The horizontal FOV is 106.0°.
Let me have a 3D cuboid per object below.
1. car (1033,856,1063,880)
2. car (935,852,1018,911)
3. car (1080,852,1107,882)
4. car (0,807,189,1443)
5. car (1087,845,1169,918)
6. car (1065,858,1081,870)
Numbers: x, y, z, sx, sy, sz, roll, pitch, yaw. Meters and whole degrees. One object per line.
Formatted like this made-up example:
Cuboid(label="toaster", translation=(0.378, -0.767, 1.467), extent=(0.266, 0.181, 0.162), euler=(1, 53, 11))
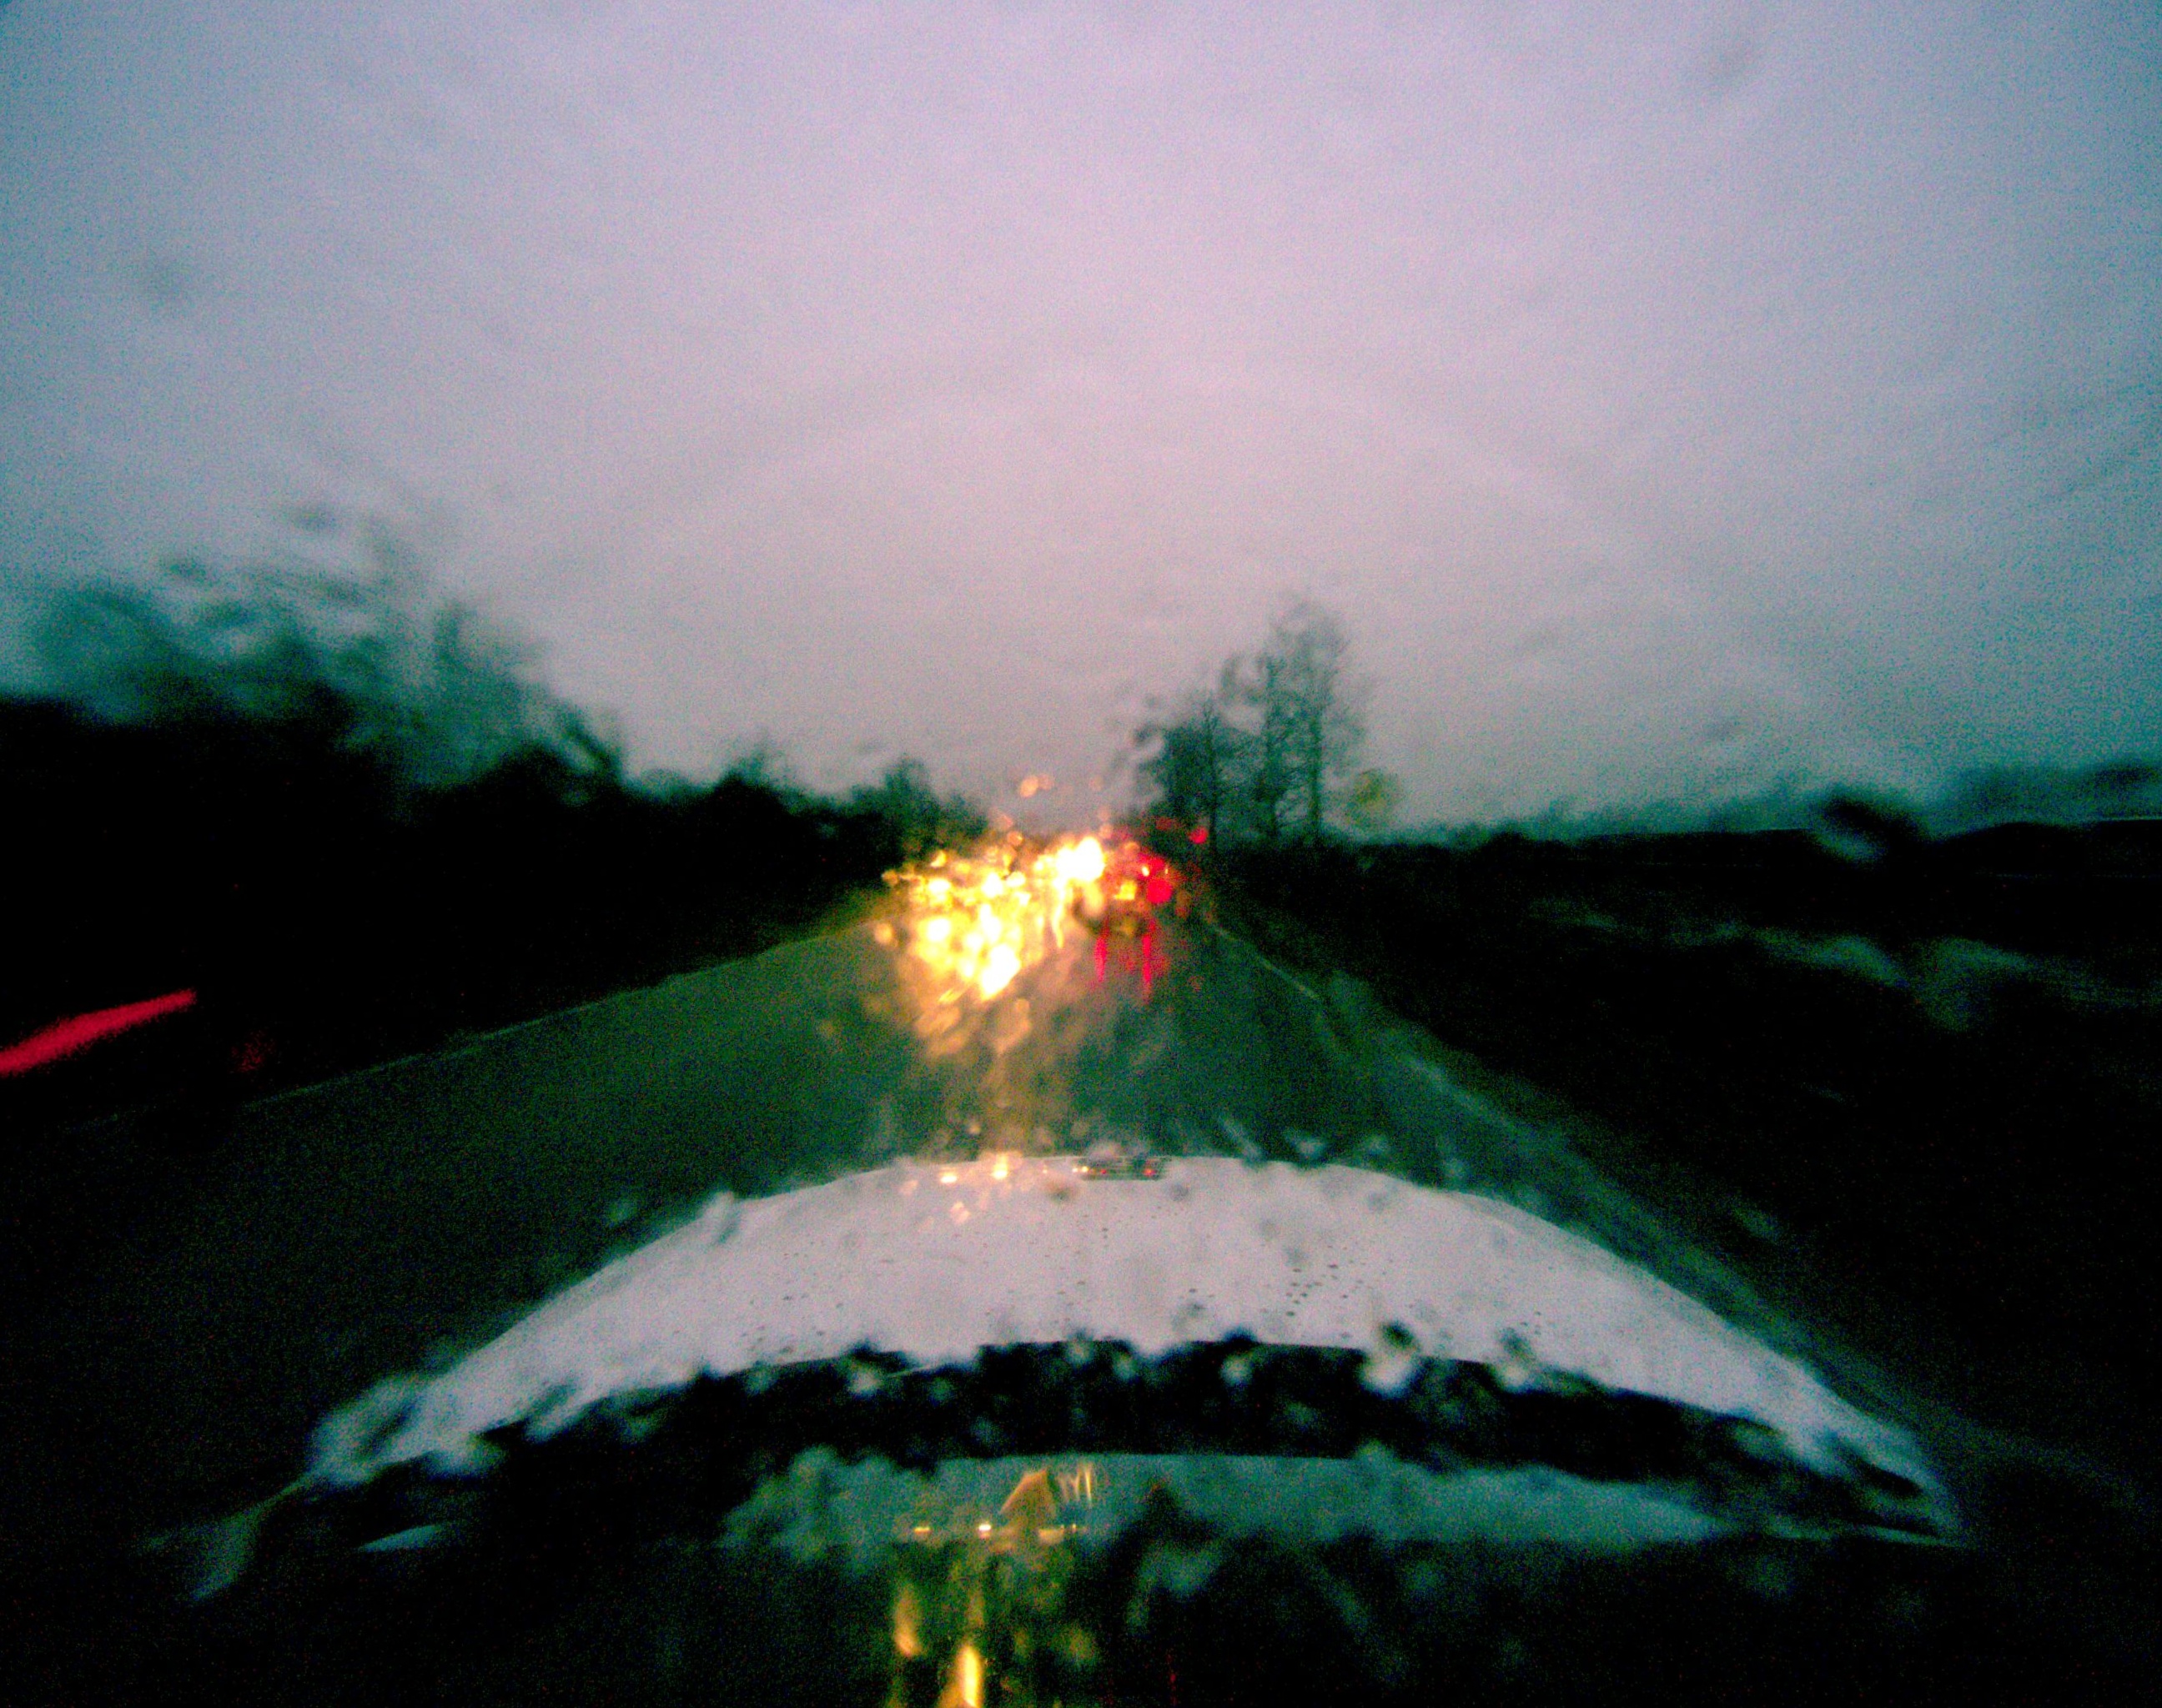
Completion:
Cuboid(label="car", translation=(-2.317, 1.004, 58.837), extent=(1.916, 1.654, 4.105), euler=(-1, 0, 1))
Cuboid(label="car", translation=(-3.074, 0.766, 24.886), extent=(1.773, 1.596, 4.694), euler=(-1, 0, 2))
Cuboid(label="car", translation=(0.816, 0.798, 52.339), extent=(1.568, 1.875, 3.712), euler=(0, 0, 3))
Cuboid(label="car", translation=(-3.708, 0.709, 0.528), extent=(1.746, 1.647, 4.049), euler=(-1, 0, 1))
Cuboid(label="car", translation=(1.245, 0.676, 21.757), extent=(1.985, 1.784, 4.003), euler=(0, 0, 3))
Cuboid(label="car", translation=(-0.944, 1.249, 99.331), extent=(1.811, 1.441, 3.457), euler=(0, 0, 2))
